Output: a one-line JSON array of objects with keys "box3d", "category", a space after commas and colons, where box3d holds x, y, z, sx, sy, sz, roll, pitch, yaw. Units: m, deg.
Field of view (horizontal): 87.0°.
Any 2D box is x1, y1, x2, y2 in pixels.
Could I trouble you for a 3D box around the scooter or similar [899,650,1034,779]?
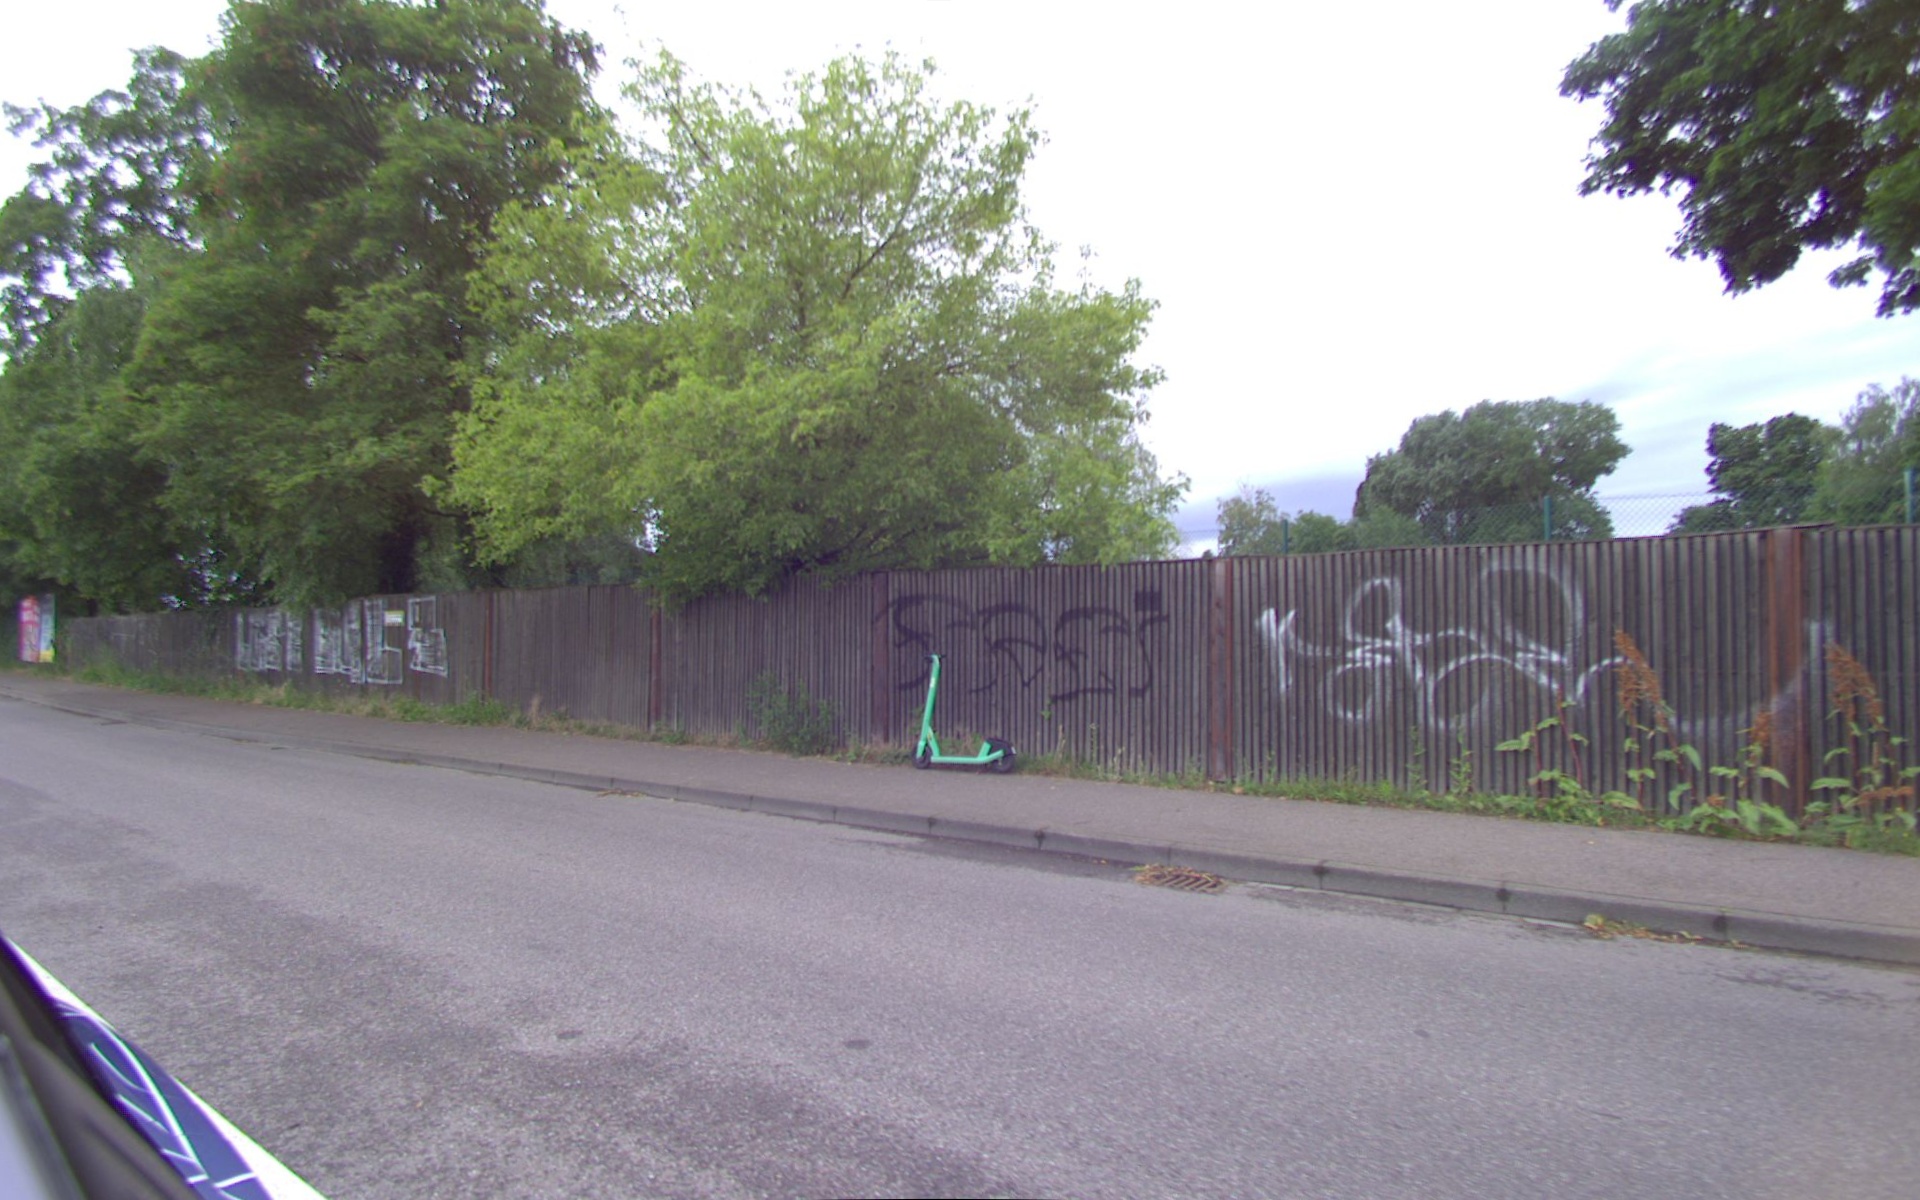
[{"box3d": [0.049, 1.090, 9.907, 1.300, 1.179, 0.419, -2, -2, 34], "category": "scooter or similar"}]
